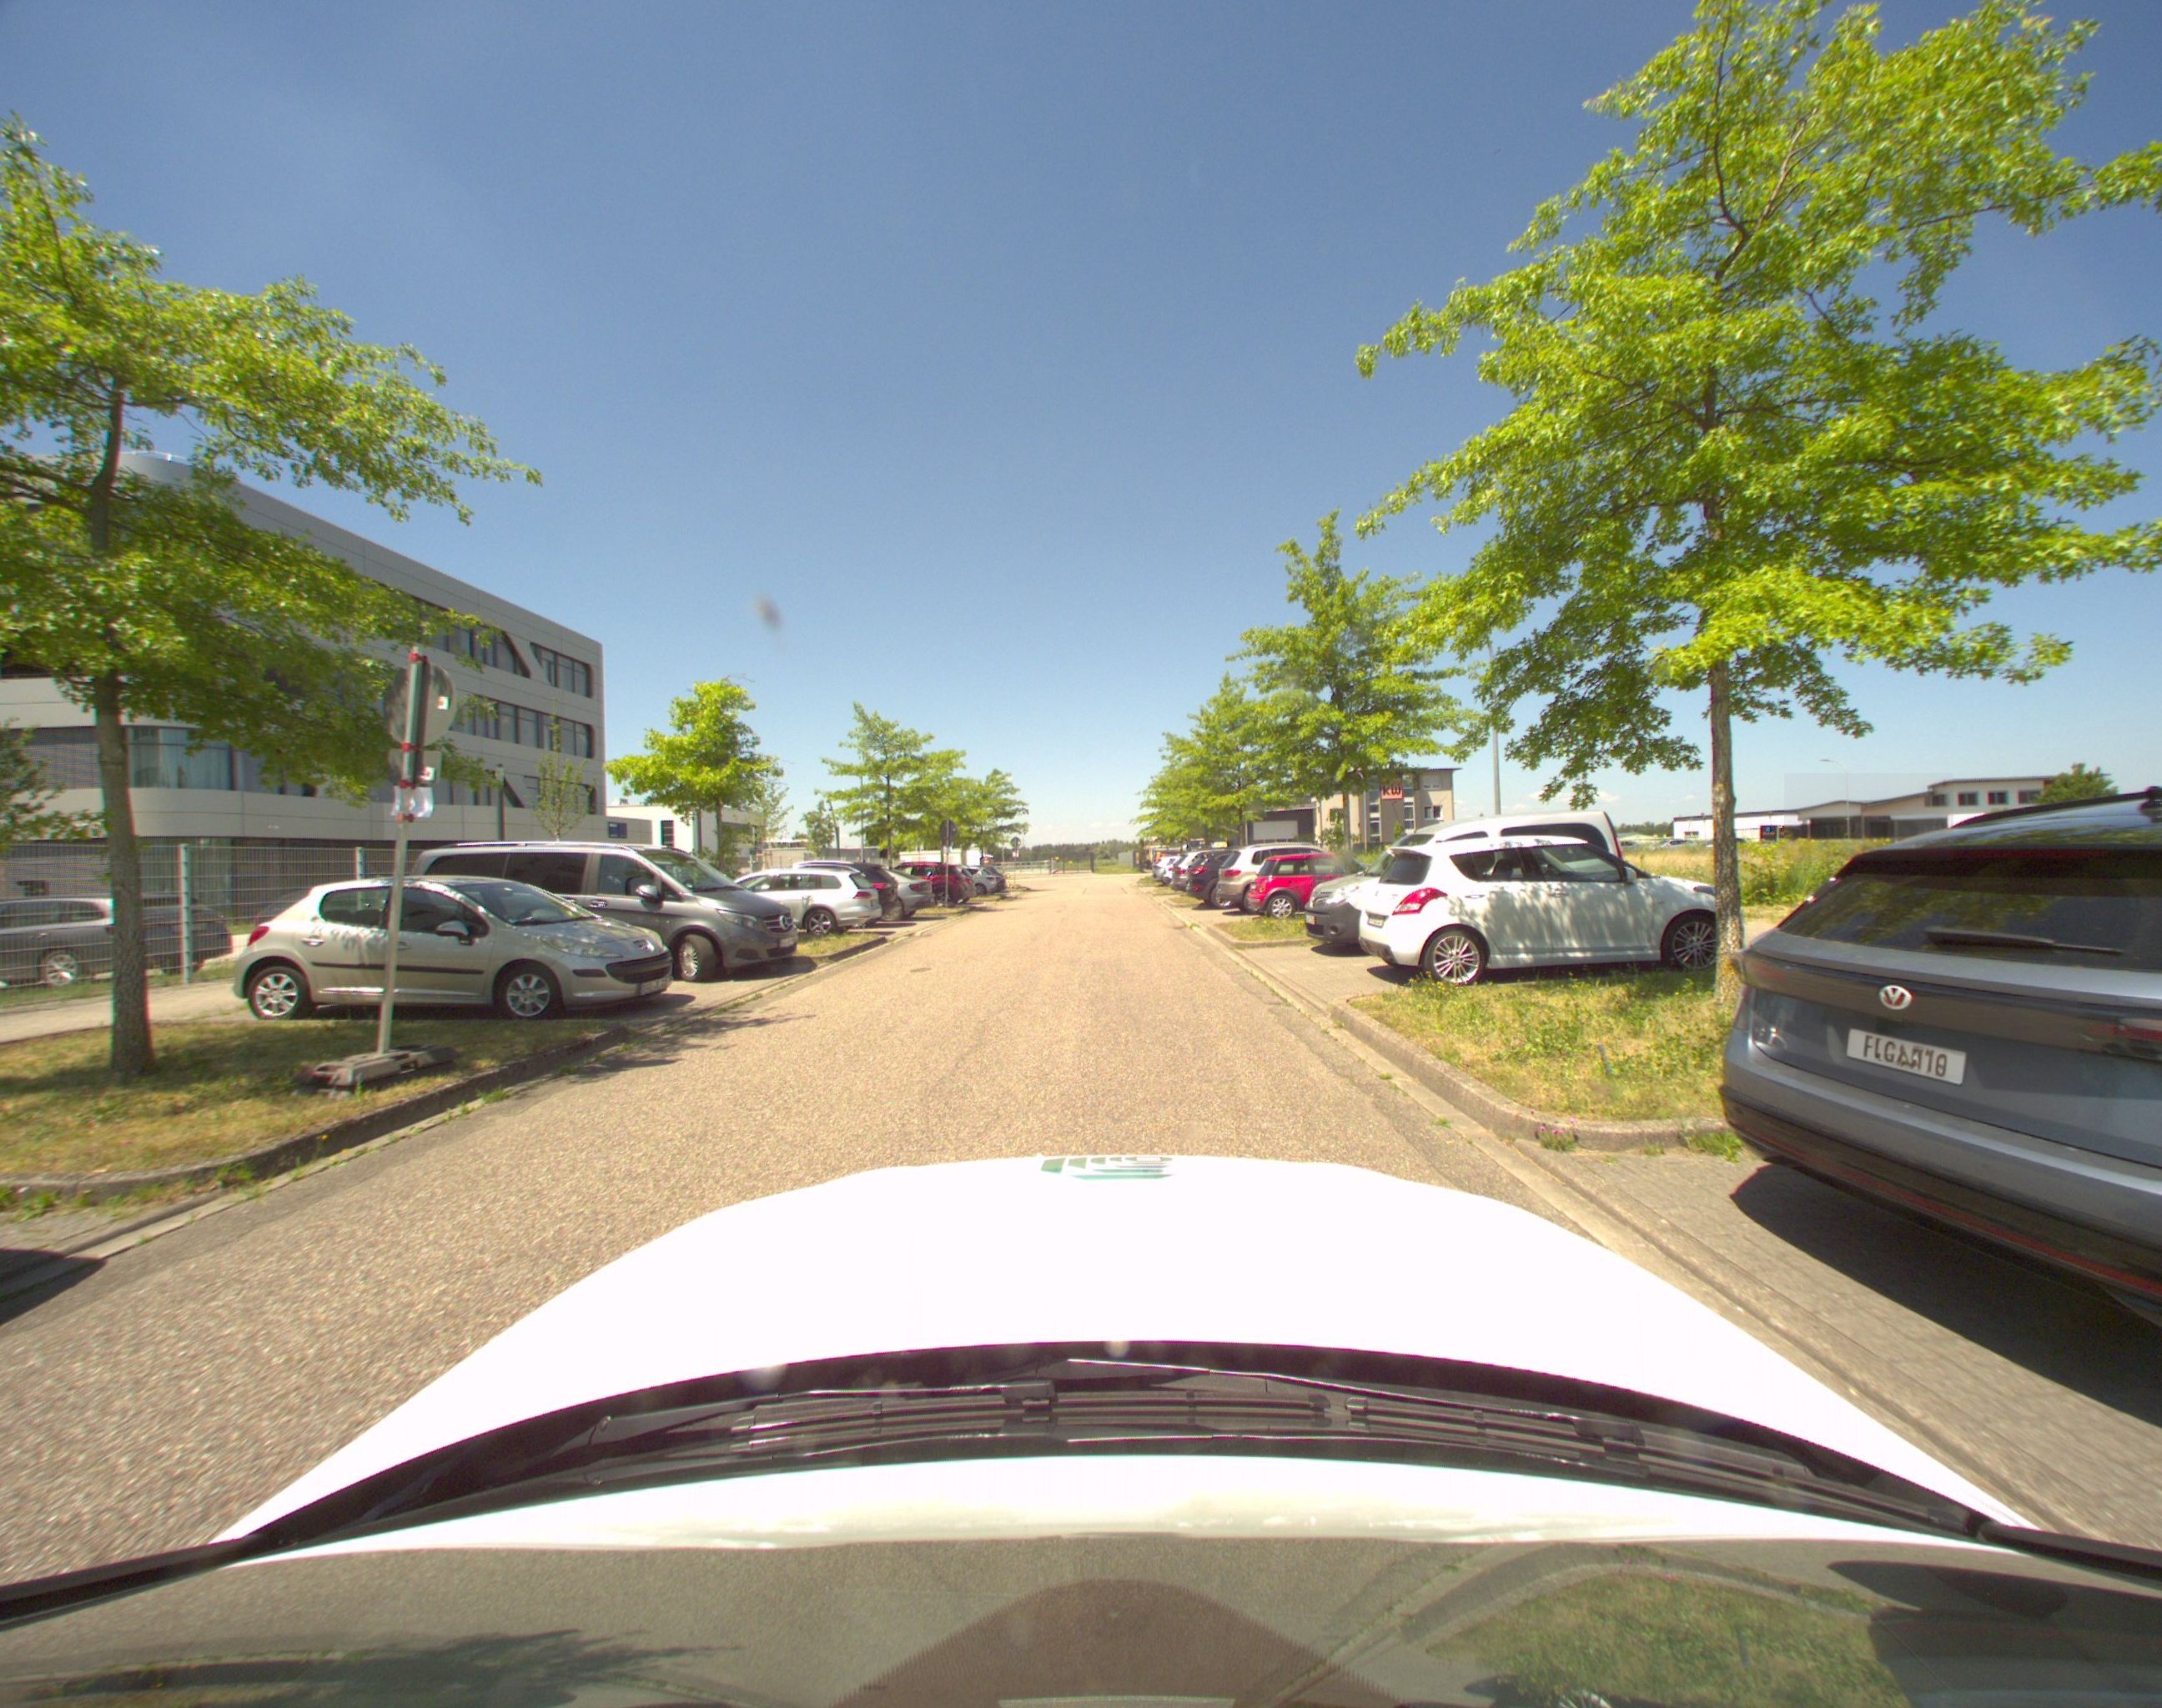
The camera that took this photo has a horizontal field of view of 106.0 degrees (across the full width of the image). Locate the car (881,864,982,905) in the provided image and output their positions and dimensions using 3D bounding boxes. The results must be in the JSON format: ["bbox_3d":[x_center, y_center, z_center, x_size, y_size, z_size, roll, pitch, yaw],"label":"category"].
[{"bbox_3d":[-5.795,1.168,31.864,3.648,1.508,1.729,0,-1,-3],"label":"car"}]

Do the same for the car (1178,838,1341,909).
[{"bbox_3d":[4.996,0.538,23.156,4.160,1.696,1.782,-4,-1,0],"label":"car"}]

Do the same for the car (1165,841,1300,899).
[{"bbox_3d":[5.399,0.569,29.463,4.436,1.768,1.992,-3,0,-1],"label":"car"}]

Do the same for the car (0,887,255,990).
[{"bbox_3d":[-16.439,1.401,13.284,3.978,1.332,1.676,-5,0,-3],"label":"car"}]

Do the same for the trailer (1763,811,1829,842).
[{"bbox_3d":[64.963,-2.505,74.059,3.974,2.600,2.232,-2,0,-1],"label":"trailer"}]

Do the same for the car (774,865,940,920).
[{"bbox_3d":[-6.219,1.054,22.925,4.178,1.480,1.713,0,-1,1],"label":"car"}]

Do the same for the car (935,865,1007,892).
[{"bbox_3d":[-5.807,1.290,43.418,3.616,1.436,1.725,0,-1,-2],"label":"car"}]

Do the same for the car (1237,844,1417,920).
[{"bbox_3d":[5.409,0.602,18.218,3.446,1.417,1.755,-4,-1,0],"label":"car"}]

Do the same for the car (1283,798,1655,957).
[{"bbox_3d":[5.351,0.324,11.691,4.386,1.830,1.796,-4,-1,2],"label":"car"}]

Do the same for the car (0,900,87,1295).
[{"bbox_3d":[-6.339,0.921,2.256,4.701,1.447,1.856,0,0,-2],"label":"car"}]

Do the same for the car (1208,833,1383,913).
[{"bbox_3d":[5.285,0.470,20.446,3.861,1.678,1.782,-4,-1,1],"label":"car"}]

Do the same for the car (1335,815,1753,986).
[{"bbox_3d":[4.910,0.478,9.043,3.617,1.503,1.677,-4,-1,2],"label":"car"}]

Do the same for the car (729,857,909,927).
[{"bbox_3d":[-6.490,0.927,20.547,3.979,1.678,1.775,0,-1,-4],"label":"car"}]

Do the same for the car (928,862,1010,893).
[{"bbox_3d":[-5.623,1.159,41.151,3.917,1.521,1.783,0,-1,-2],"label":"car"}]

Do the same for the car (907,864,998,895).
[{"bbox_3d":[-6.055,1.206,38.630,4.066,1.424,1.872,0,-1,-3],"label":"car"}]

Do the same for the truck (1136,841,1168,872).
[{"bbox_3d":[7.445,0.251,85.674,2.717,3.062,6.935,-2,0,0],"label":"truck"}]

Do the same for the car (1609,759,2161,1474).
[{"bbox_3d":[4.642,0.435,2.580,4.705,1.561,1.911,-4,-1,-3],"label":"car"}]

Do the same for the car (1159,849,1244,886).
[{"bbox_3d":[6.081,0.672,41.302,3.974,1.644,1.838,-3,-1,0],"label":"car"}]

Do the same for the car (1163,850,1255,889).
[{"bbox_3d":[6.050,0.737,38.735,4.053,1.608,1.902,-3,-1,2],"label":"car"}]

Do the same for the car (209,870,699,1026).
[{"bbox_3d":[-6.581,0.939,8.886,3.954,1.484,1.764,0,0,1],"label":"car"}]

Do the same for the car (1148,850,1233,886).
[{"bbox_3d":[5.831,0.724,43.741,4.264,1.644,1.851,-4,-1,1],"label":"car"}]

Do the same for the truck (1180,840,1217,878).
[{"bbox_3d":[12.791,0.558,89.070,2.911,3.929,6.935,-2,0,0],"label":"truck"}]

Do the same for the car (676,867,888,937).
[{"bbox_3d":[-6.420,1.014,17.826,4.026,1.461,1.603,0,-1,-2],"label":"car"}]

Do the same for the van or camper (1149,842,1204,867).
[{"bbox_3d":[8.982,0.011,77.069,4.920,2.163,2.000,-2,1,0],"label":"van or camper"}]

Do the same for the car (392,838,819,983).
[{"bbox_3d":[-6.691,0.764,11.867,5.049,1.892,1.998,-1,0,2],"label":"car"}]

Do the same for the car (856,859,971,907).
[{"bbox_3d":[-5.950,1.018,29.252,3.723,1.621,1.817,0,-1,1],"label":"car"}]

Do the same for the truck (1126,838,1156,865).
[{"bbox_3d":[6.910,-0.252,94.138,2.911,2.938,6.935,-2,0,0],"label":"truck"}]
